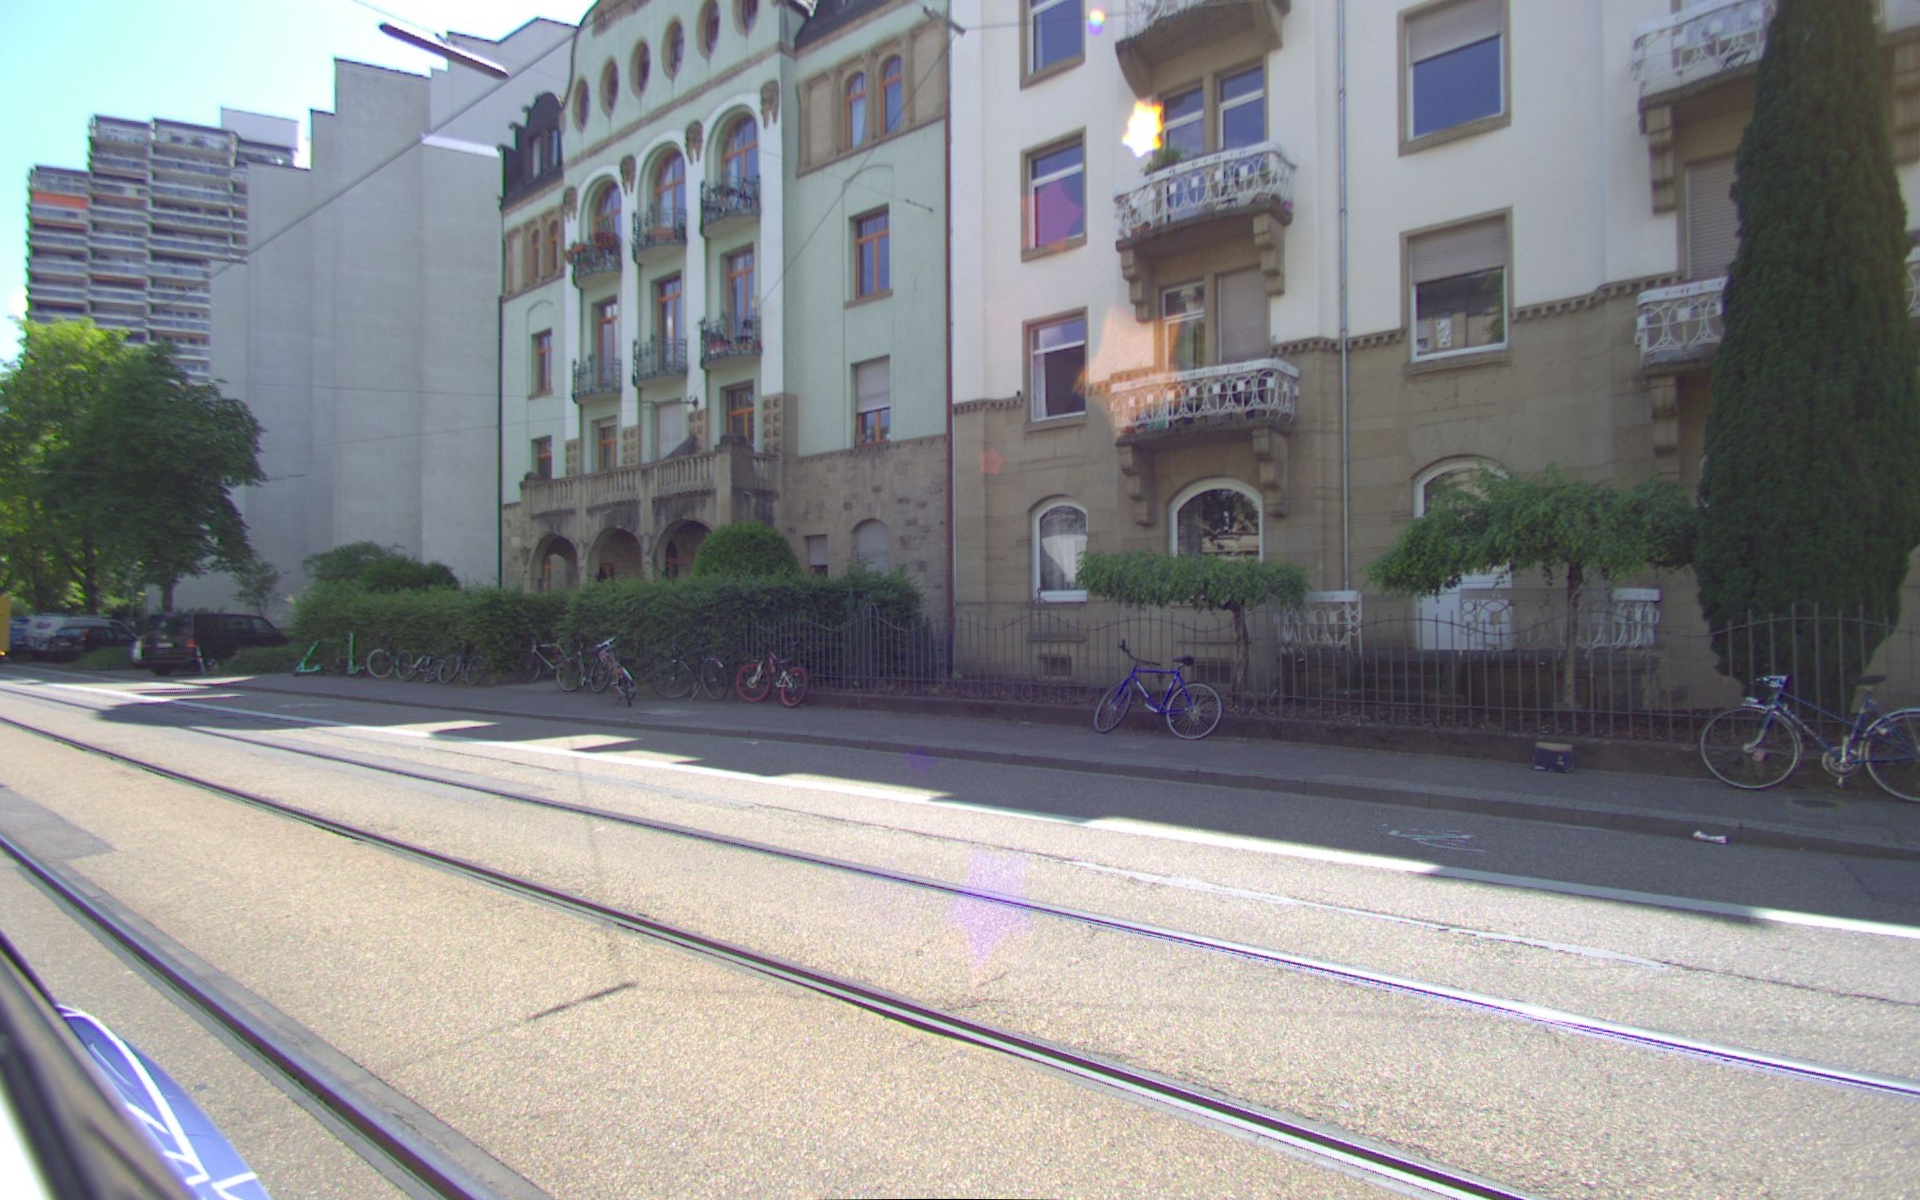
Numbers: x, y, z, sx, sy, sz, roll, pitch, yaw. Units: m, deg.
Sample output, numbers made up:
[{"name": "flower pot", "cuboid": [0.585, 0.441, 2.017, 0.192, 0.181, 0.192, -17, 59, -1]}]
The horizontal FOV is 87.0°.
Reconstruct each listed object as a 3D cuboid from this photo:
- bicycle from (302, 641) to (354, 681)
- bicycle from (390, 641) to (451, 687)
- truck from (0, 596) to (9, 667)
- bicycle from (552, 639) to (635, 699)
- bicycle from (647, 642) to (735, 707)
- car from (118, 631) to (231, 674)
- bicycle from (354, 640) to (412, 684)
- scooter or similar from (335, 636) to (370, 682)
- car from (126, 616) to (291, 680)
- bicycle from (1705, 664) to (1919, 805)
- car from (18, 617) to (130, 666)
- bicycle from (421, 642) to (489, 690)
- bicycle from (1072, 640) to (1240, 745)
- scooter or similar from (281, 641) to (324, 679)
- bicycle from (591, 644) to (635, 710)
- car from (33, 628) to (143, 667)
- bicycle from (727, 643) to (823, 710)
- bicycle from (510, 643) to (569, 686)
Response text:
[{"name": "bicycle", "cuboid": [-16.957, 1.615, 27.151, 1.706, 0.996, 0.602, -2, 2, 39]}, {"name": "bicycle", "cuboid": [-12.597, 1.477, 23.614, 1.706, 0.996, 0.602, -2, 2, 39]}, {"name": "truck", "cuboid": [-42.491, 1.360, 43.031, 6.510, 2.943, 2.277, -2, -2, 40]}, {"name": "bicycle", "cuboid": [-6.948, 1.276, 19.155, 1.769, 1.040, 0.602, -2, 2, 39]}, {"name": "bicycle", "cuboid": [-4.518, 1.220, 16.923, 1.706, 1.006, 0.460, -2, 2, 39]}, {"name": "car", "cuboid": [-29.149, 1.913, 37.696, 1.699, 1.465, 3.633, 0, -1, -7]}, {"name": "bicycle", "cuboid": [-14.286, 1.512, 25.034, 1.706, 0.996, 0.602, -2, 2, 39]}, {"name": "scooter or similar", "cuboid": [-15.611, 1.507, 26.002, 1.290, 1.128, 0.401, -2, -2, 41]}, {"name": "car", "cuboid": [-24.357, 1.521, 33.054, 1.935, 1.940, 4.584, 0, -1, 1]}, {"name": "bicycle", "cuboid": [6.952, 1.030, 7.878, 1.839, 0.968, 0.406, 0, 2, 39]}, {"name": "car", "cuboid": [-39.629, 1.831, 45.408, 1.579, 2.058, 4.054, 0, -1, -2]}, {"name": "bicycle", "cuboid": [-11.141, 1.433, 22.314, 1.769, 0.983, 0.602, -2, 2, 39]}, {"name": "bicycle", "cuboid": [2.214, 1.019, 11.576, 1.769, 1.072, 0.602, -2, 2, 39]}, {"name": "scooter or similar", "cuboid": [-18.282, 1.659, 28.135, 1.216, 1.028, 0.404, -1, -2, 23]}, {"name": "bicycle", "cuboid": [-5.831, 1.270, 17.065, 0.599, 1.007, 1.780, 0, -2, -16]}, {"name": "car", "cuboid": [-37.021, 1.991, 43.108, 1.657, 1.587, 3.687, 0, -1, -4]}, {"name": "bicycle", "cuboid": [-2.912, 1.175, 15.840, 1.724, 0.973, 0.409, -2, 1, 39]}, {"name": "bicycle", "cuboid": [-9.388, 1.432, 22.608, 0.339, 0.915, 1.192, -2, -2, 40]}]
